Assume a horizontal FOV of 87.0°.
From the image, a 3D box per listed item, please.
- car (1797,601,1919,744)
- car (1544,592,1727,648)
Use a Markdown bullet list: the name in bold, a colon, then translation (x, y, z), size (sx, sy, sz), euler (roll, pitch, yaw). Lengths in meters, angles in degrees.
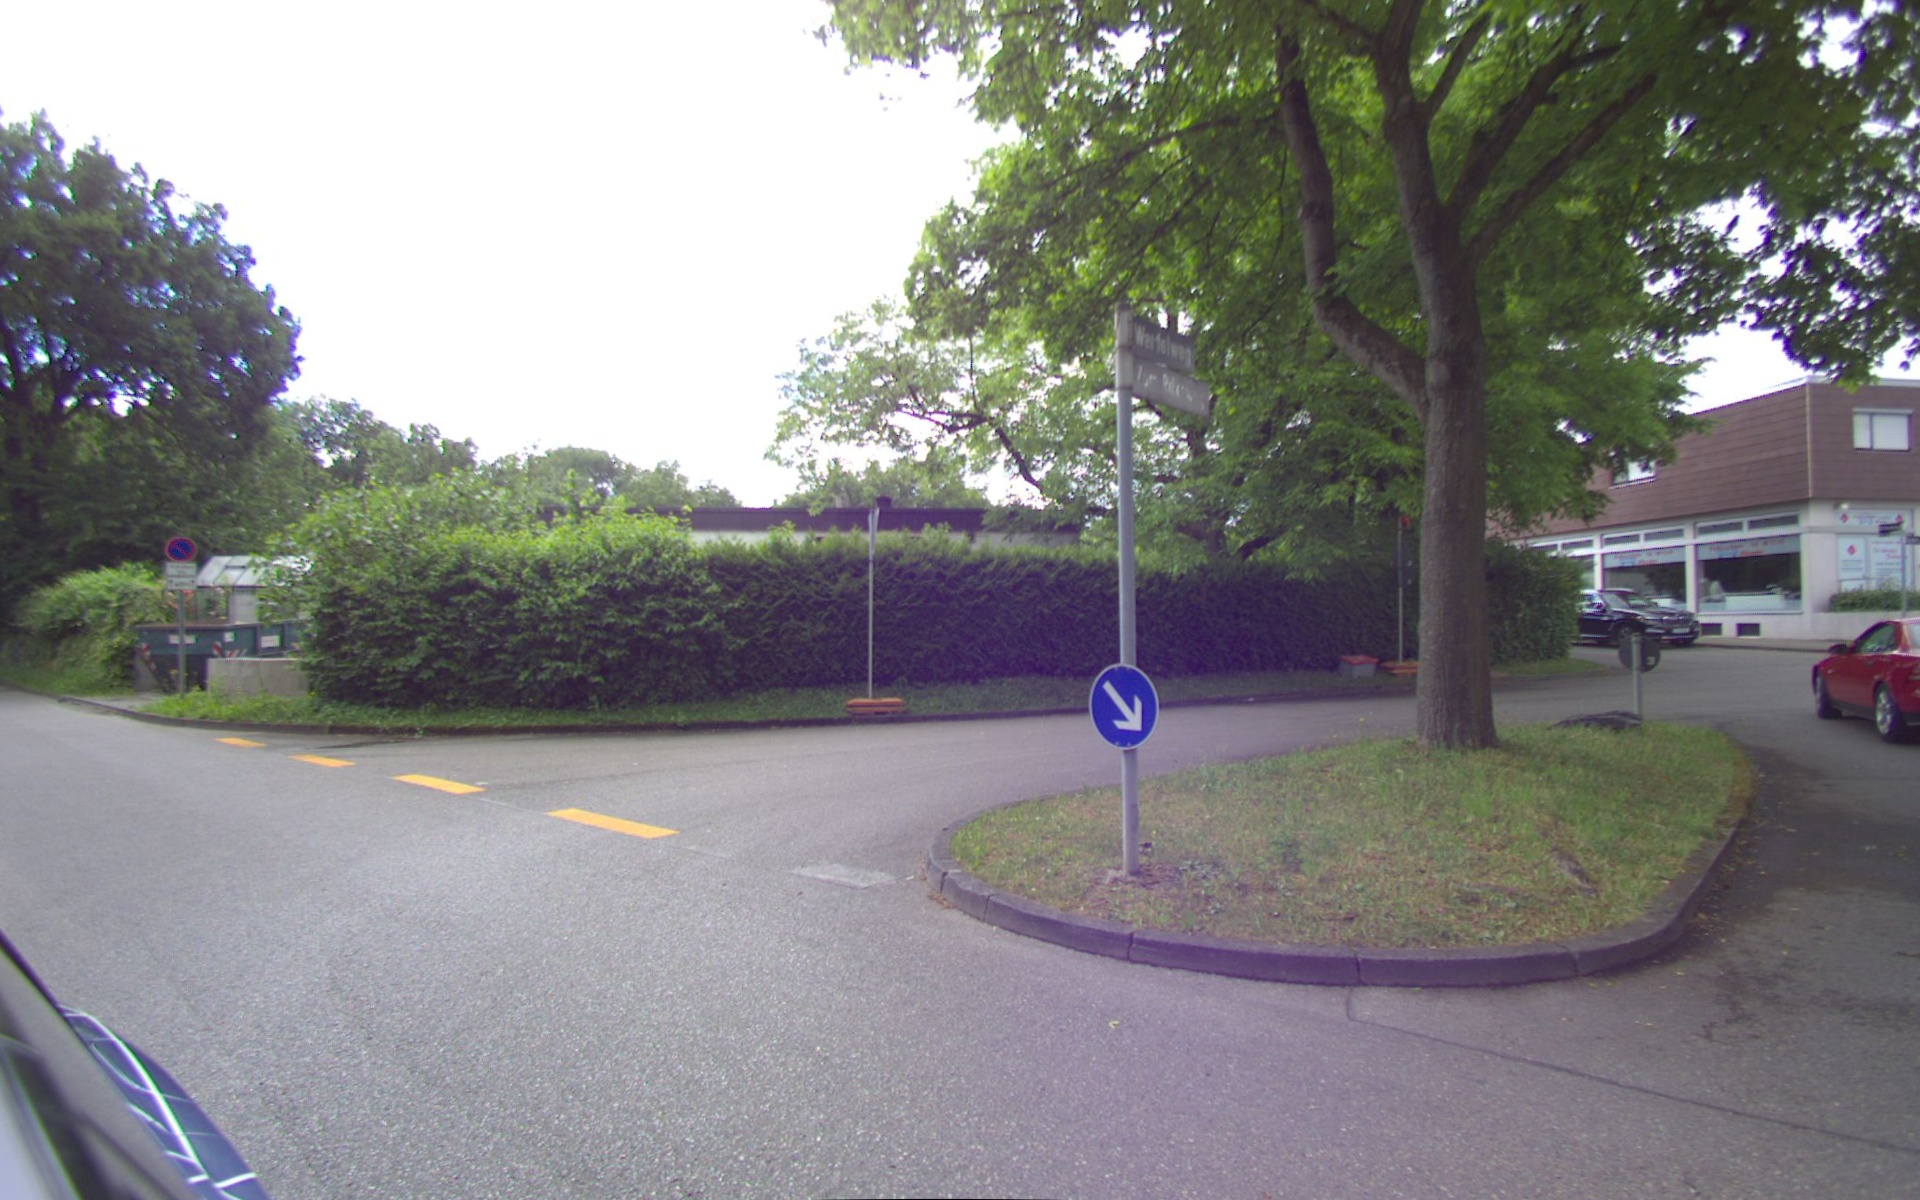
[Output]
- **car**: translation (10.716, 0.684, 10.937), size (1.748, 1.346, 4.026), euler (-2, -1, 28)
- **car**: translation (19.126, 0.588, 28.938), size (1.969, 1.386, 4.285), euler (-3, -1, -6)
